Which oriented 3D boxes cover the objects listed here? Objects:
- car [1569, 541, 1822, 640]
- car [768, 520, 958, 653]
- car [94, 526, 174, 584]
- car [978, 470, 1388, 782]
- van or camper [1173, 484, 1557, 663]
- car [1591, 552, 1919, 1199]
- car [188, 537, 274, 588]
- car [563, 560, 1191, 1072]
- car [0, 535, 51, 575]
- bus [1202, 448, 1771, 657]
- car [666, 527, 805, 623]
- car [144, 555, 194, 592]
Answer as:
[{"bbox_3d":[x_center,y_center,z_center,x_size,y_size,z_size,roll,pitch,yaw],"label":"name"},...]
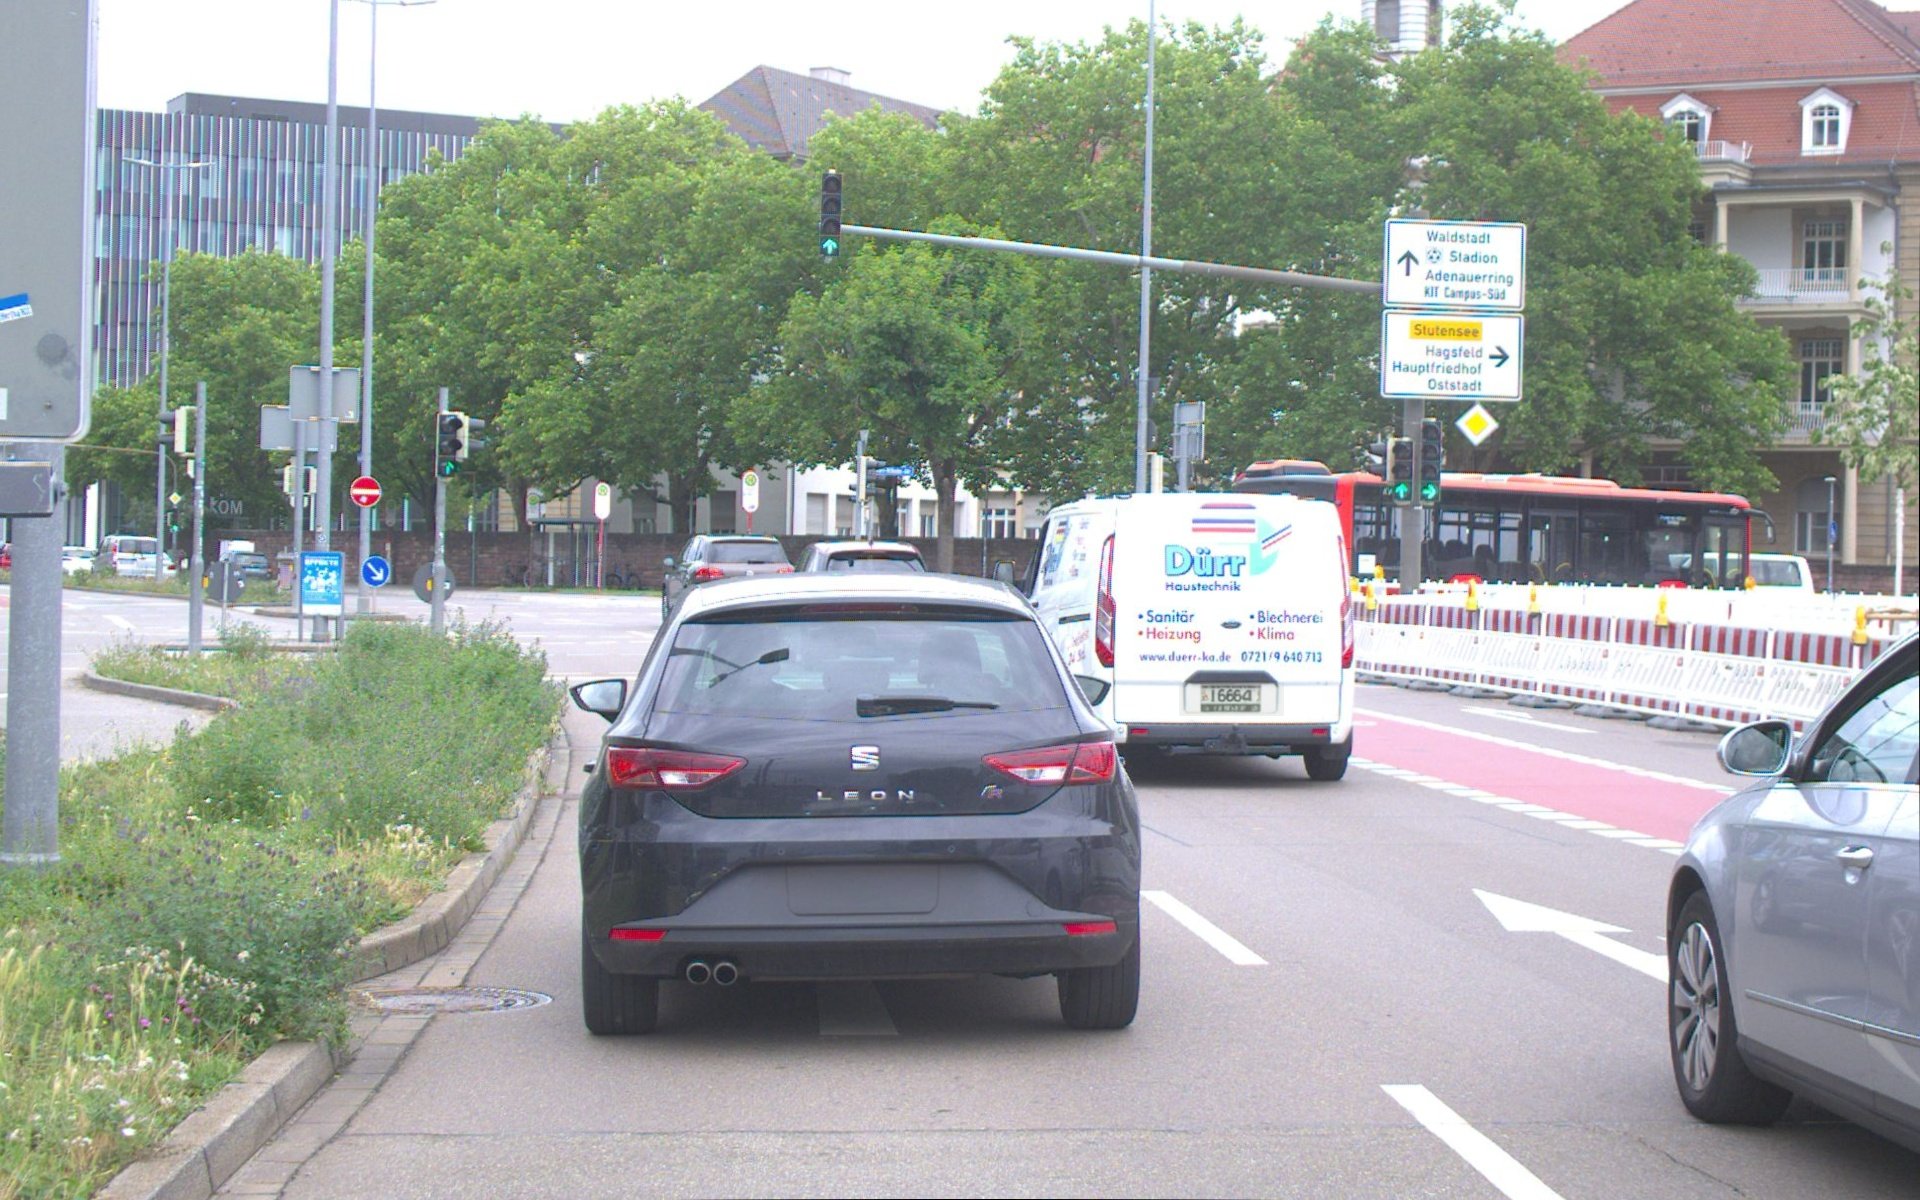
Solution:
[{"bbox_3d":[15.419,-0.170,72.026,4.987,1.858,2.000,2,-3,-25],"label":"car"},{"bbox_3d":[-1.315,-0.187,44.694,1.857,1.595,4.206,2,0,-10],"label":"car"},{"bbox_3d":[-29.797,-1.621,123.954,1.993,2.007,4.001,1,1,-25],"label":"car"},{"bbox_3d":[1.493,0.153,25.212,1.993,2.012,5.033,2,0,-8],"label":"car"},{"bbox_3d":[8.094,-0.479,68.605,7.127,3.321,2.877,1,-1,-25],"label":"van or camper"},{"bbox_3d":[2.782,0.648,7.508,1.720,1.477,4.629,1,0,-3],"label":"car"},{"bbox_3d":[-25.319,-1.310,119.284,1.917,1.678,4.001,1,1,-27],"label":"car"},{"bbox_3d":[-0.458,0.613,11.883,1.745,1.459,4.001,0,0,-8],"label":"car"},{"bbox_3d":[-40.740,-1.950,149.077,1.993,1.676,4.011,1,1,-22],"label":"car"},{"bbox_3d":[9.787,-0.763,62.222,12.344,3.286,3.067,2,0,-43],"label":"bus"},{"bbox_3d":[-3.959,-0.438,60.011,1.993,1.560,4.206,2,0,-9],"label":"car"},{"bbox_3d":[-31.207,-1.052,135.656,1.525,1.360,2.970,2,0,-20],"label":"car"}]
